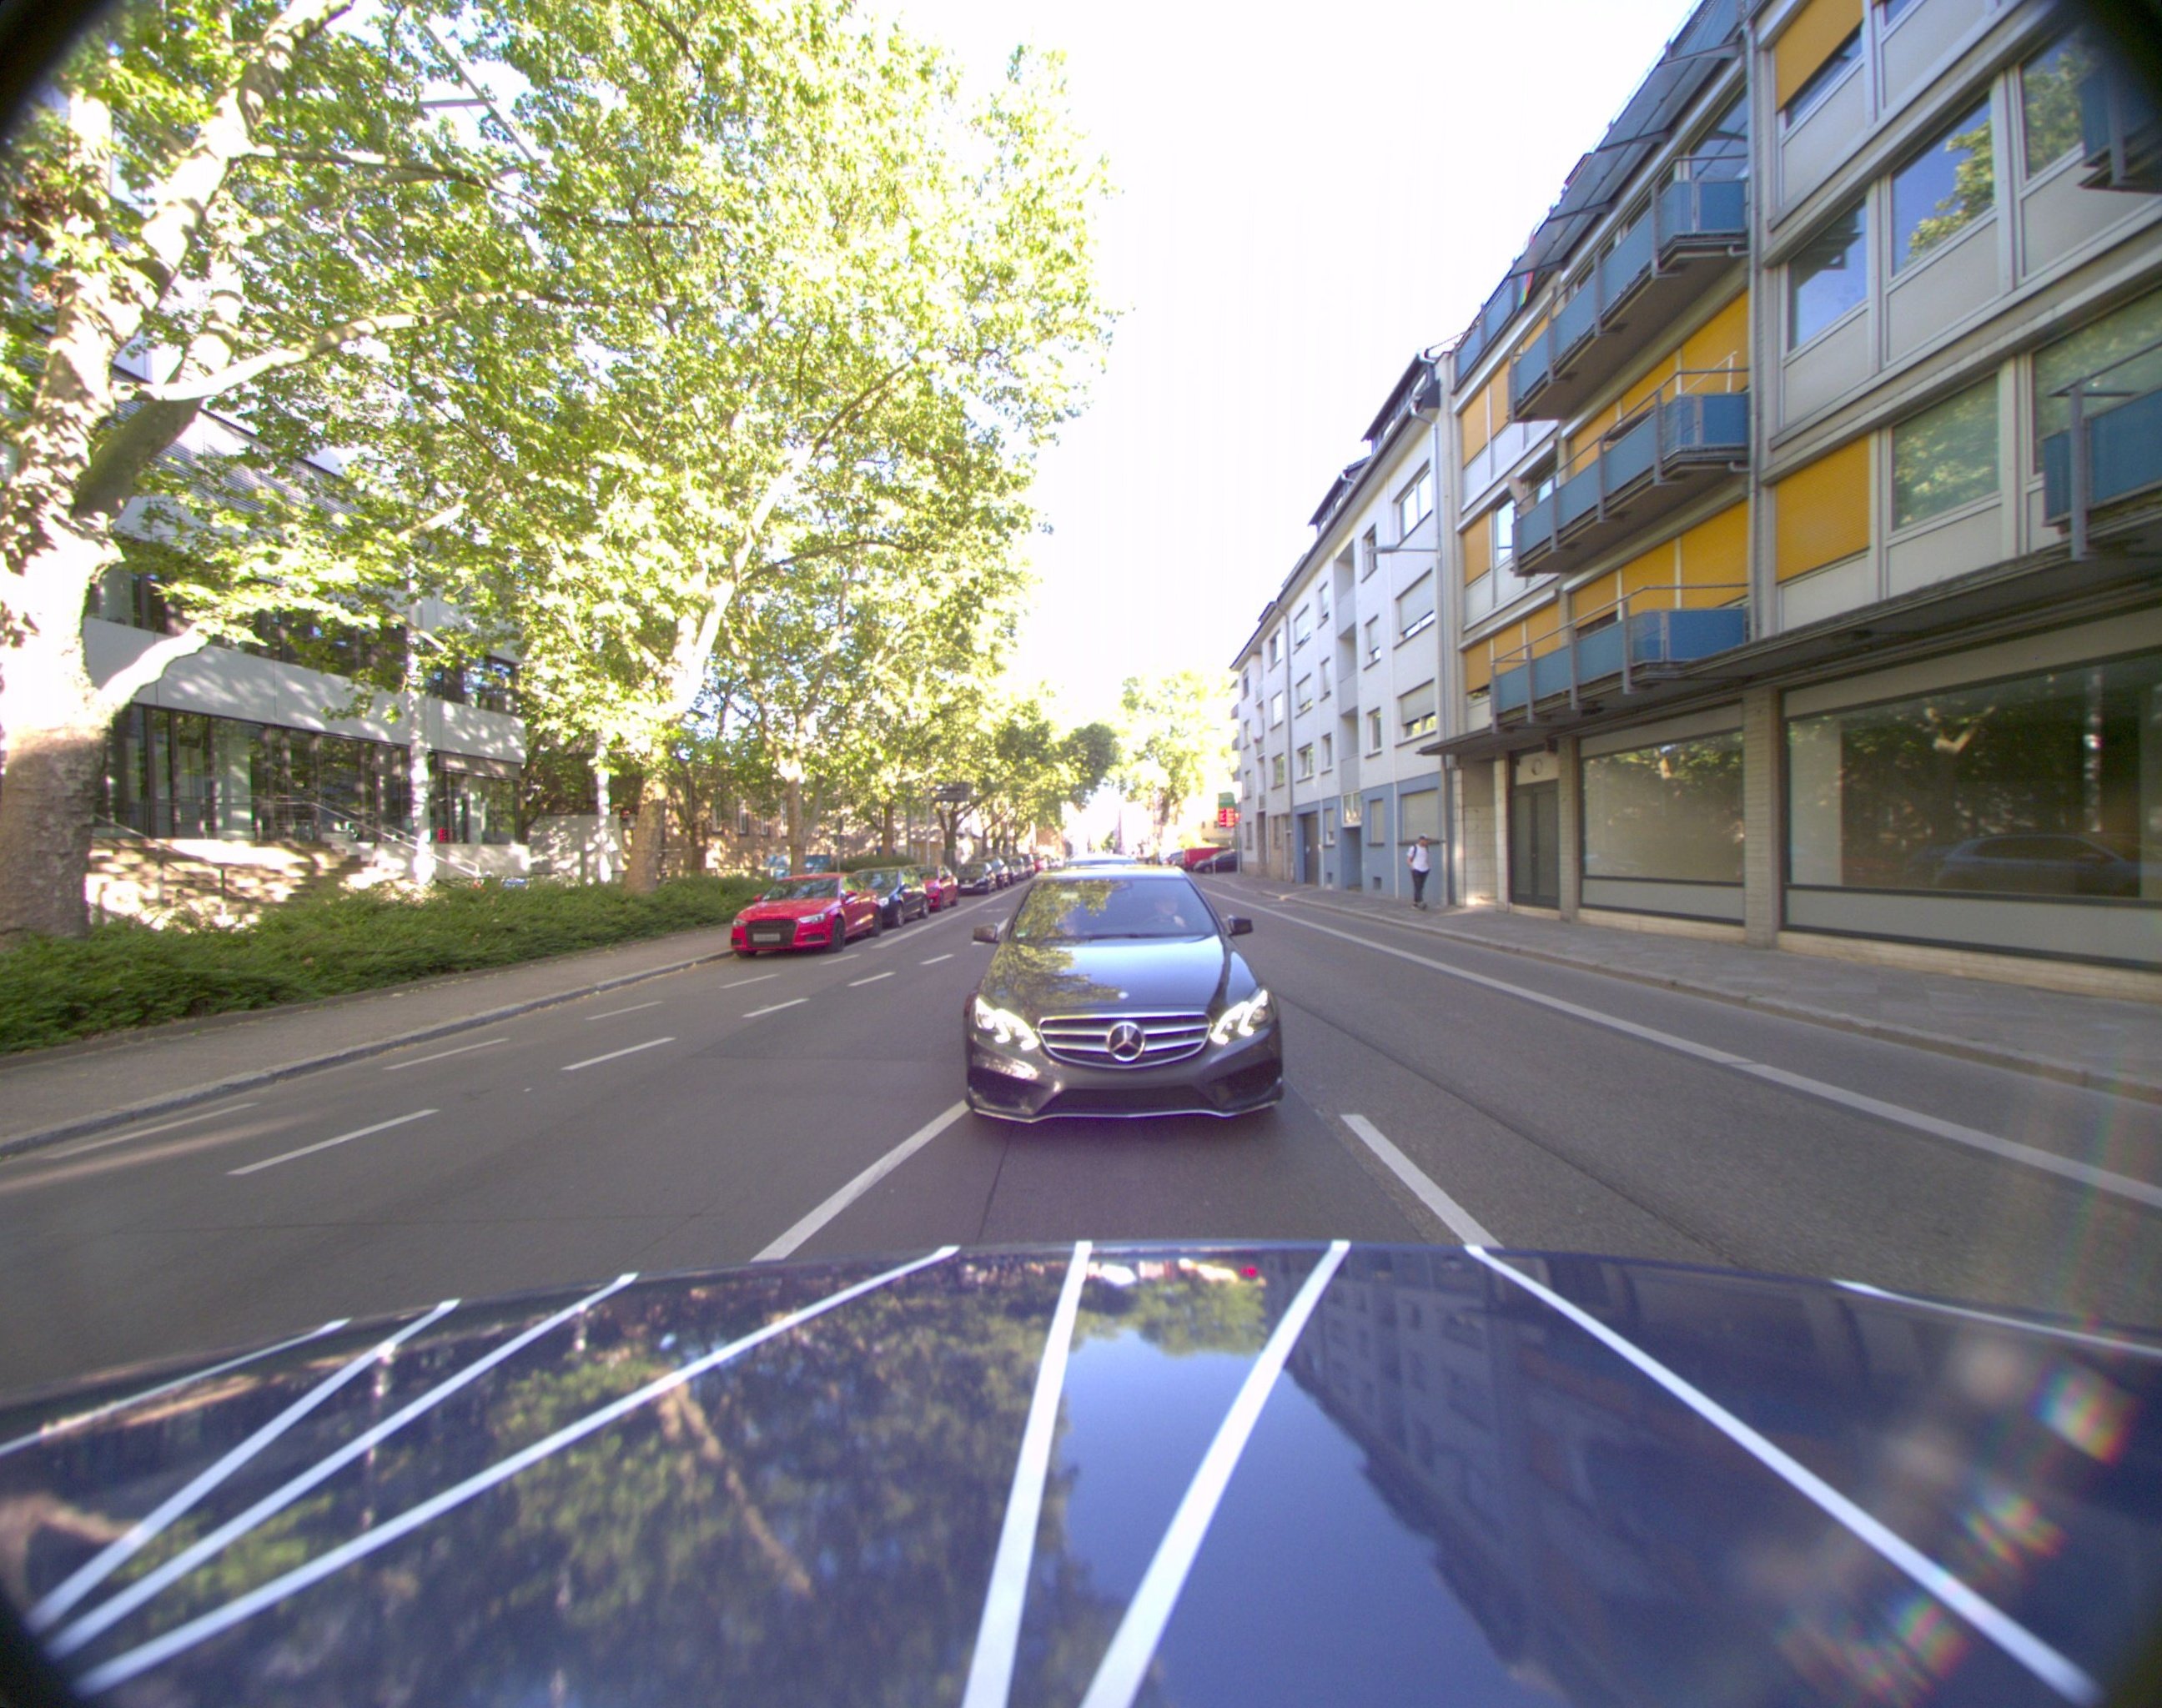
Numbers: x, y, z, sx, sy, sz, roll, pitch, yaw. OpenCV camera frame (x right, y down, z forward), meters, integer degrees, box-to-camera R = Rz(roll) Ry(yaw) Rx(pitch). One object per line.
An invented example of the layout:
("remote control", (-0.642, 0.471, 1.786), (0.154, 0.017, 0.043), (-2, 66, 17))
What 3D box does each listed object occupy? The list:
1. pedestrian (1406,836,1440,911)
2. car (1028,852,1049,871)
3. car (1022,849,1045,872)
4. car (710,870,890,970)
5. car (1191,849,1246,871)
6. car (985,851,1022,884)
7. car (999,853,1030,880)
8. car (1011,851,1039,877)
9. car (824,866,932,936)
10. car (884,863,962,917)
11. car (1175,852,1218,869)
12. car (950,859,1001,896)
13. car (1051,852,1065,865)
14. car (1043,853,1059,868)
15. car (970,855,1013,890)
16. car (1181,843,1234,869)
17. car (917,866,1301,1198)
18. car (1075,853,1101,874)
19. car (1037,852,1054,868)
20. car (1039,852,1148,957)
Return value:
("pedestrian", (8.046, 0.450, 17.904), (0.569, 1.716, 0.343), (-3, 1, 1))
("car", (-4.008, 0.678, 71.847), (1.635, 1.713, 3.673), (-3, 0, 1))
("car", (-4.176, 0.514, 67.009), (1.635, 1.878, 3.673), (-3, 0, 1))
("car", (-5.149, 1.131, 14.580), (1.804, 1.455, 4.125), (-3, 0, 1))
("car", (10.039, 0.458, 55.527), (3.670, 1.403, 1.636), (-3, 0, 1))
("car", (-4.541, 0.769, 44.878), (1.635, 1.795, 3.845), (-3, 0, 1))
("car", (-4.479, 0.800, 51.539), (1.635, 1.644, 3.845), (-3, 0, 1))
("car", (-4.136, 0.723, 56.319), (1.635, 1.799, 3.673), (-3, 0, 1))
("car", (-5.030, 1.123, 19.368), (1.635, 1.455, 3.740), (-3, 0, 1))
("car", (-5.010, 1.096, 24.521), (1.635, 1.455, 3.740), (-3, 0, 1))
("car", (9.652, 0.516, 63.517), (3.325, 1.241, 1.295), (-3, 1, 1))
("car", (-4.665, 1.025, 34.105), (1.635, 1.455, 3.740), (-3, 0, 1))
("car", (-3.096, 0.598, 103.615), (1.635, 1.713, 3.673), (-3, 0, 1))
("car", (-3.679, 0.753, 92.937), (1.635, 1.713, 3.673), (-3, 0, 1))
("car", (-4.542, 0.894, 38.971), (1.635, 1.578, 3.845), (-3, 0, 1))
("car", (10.118, 0.152, 60.836), (3.927, 1.912, 1.636), (-3, 1, 1))
("car", (0.165, 0.907, 5.777), (1.804, 1.455, 4.125), (-3, 0, 1))
("car", (0.540, 0.693, 58.290), (1.853, 1.455, 4.099), (-3, 0, 1))
("car", (-3.993, 0.620, 86.928), (1.635, 1.713, 3.673), (-3, 0, 1))
("car", (0.232, 0.818, 14.385), (1.680, 1.622, 4.125), (-3, 0, 1))
